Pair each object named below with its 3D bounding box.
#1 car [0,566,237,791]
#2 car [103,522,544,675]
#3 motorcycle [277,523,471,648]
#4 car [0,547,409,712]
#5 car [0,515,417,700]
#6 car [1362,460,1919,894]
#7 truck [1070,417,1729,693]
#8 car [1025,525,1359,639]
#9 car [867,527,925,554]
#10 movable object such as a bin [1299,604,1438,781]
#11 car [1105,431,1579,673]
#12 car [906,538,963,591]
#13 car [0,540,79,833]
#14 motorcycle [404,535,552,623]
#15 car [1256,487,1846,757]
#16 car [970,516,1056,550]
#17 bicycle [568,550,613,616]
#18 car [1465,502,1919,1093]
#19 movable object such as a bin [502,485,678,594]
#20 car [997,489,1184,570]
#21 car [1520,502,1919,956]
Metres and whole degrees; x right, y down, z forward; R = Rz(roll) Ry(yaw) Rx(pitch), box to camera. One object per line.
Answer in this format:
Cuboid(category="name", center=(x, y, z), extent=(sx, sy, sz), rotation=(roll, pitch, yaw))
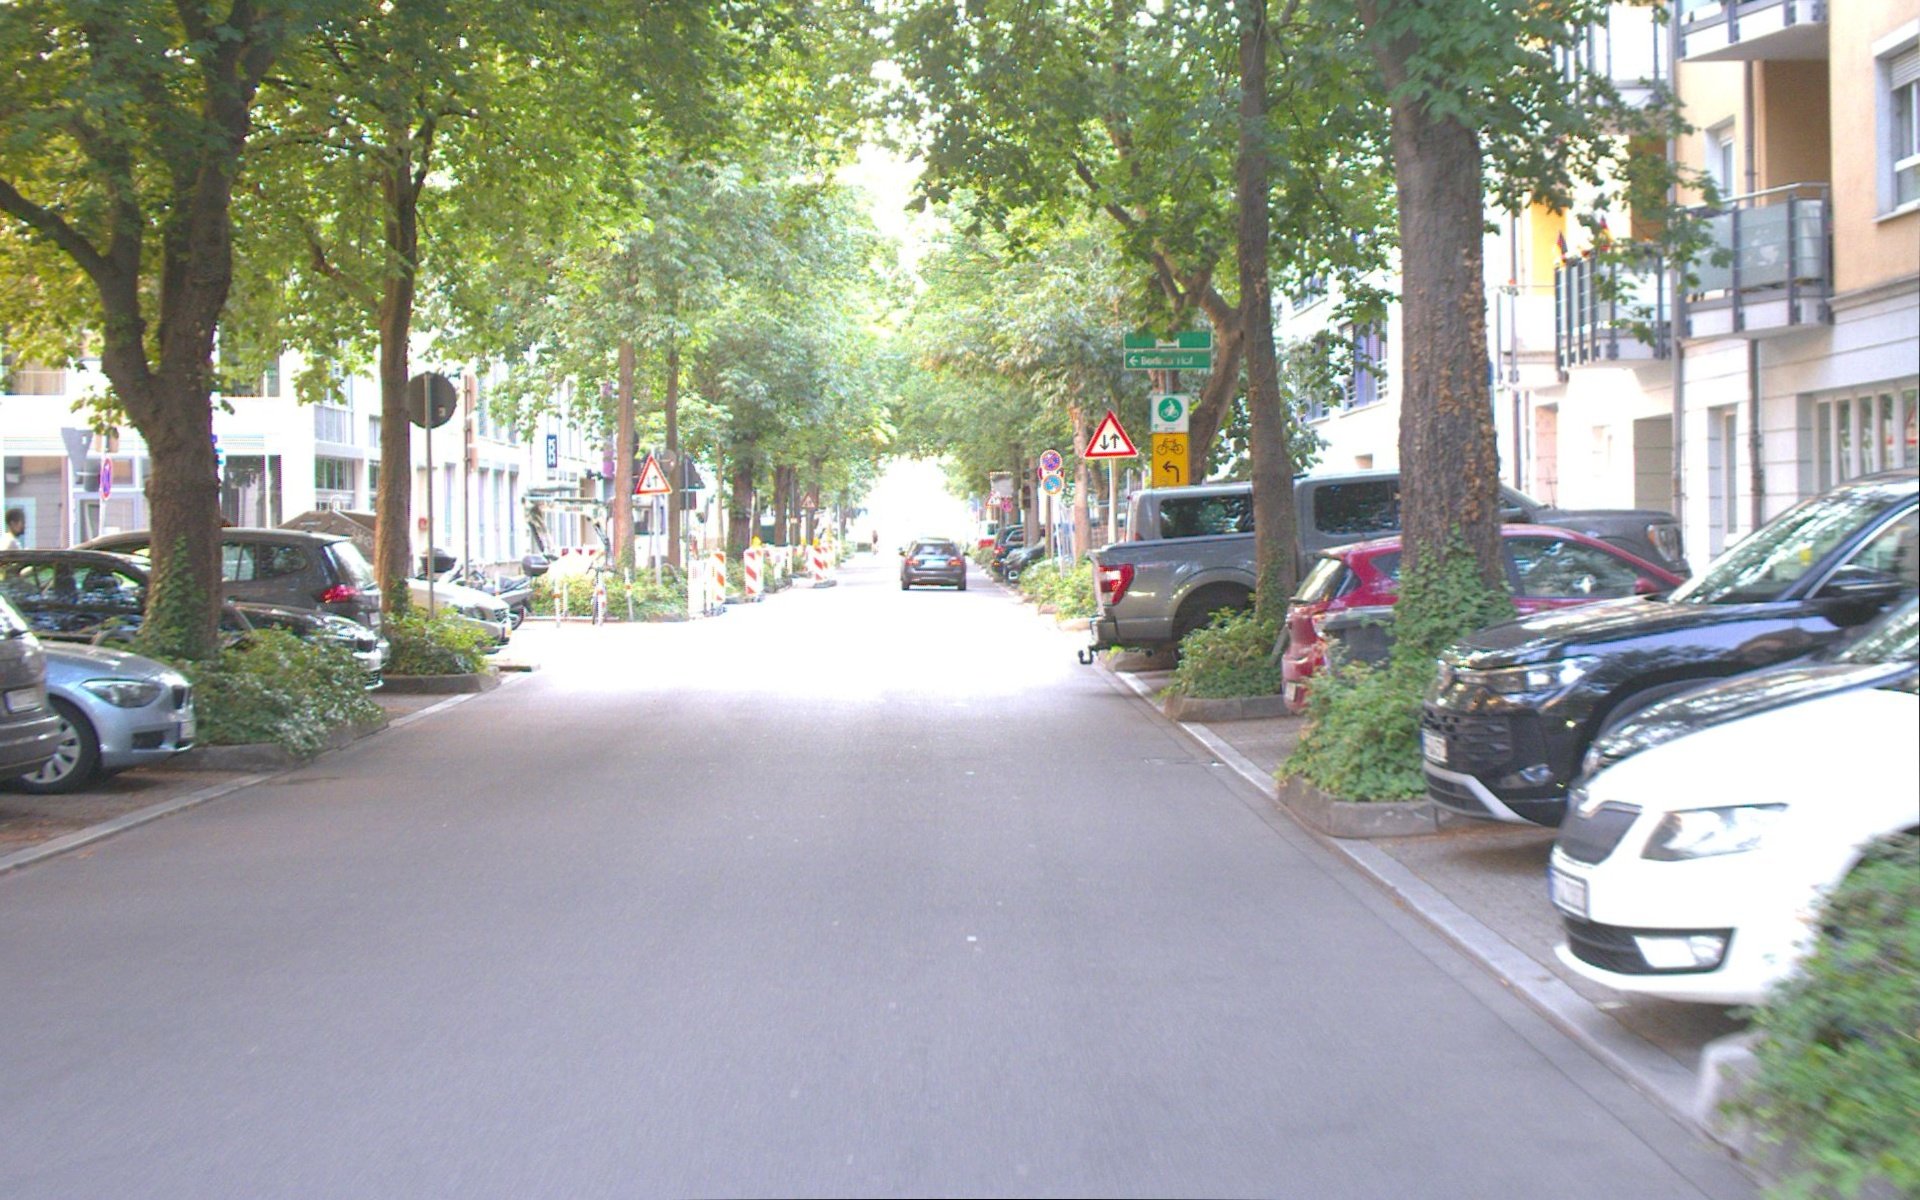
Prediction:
Cuboid(category="car", center=(-6.896, 0.471, 22.243), extent=(4.099, 1.375, 1.747), rotation=(0, 1, -2))
Cuboid(category="car", center=(-7.025, -0.031, 38.312), extent=(4.498, 1.576, 2.055), rotation=(1, 1, 0))
Cuboid(category="motorcycle", center=(-7.113, -0.181, 41.816), extent=(2.217, 1.488, 0.691), rotation=(-1, 1, 2))
Cuboid(category="car", center=(-7.484, 0.245, 31.086), extent=(4.715, 1.419, 2.072), rotation=(0, 1, -2))
Cuboid(category="car", center=(-7.604, 0.045, 33.341), extent=(4.395, 1.679, 2.064), rotation=(1, 1, -2))
Cuboid(category="car", center=(4.243, 0.227, 15.578), extent=(4.382, 1.698, 1.896), rotation=(-4, 1, -8))
Cuboid(category="truck", center=(4.189, -0.447, 33.608), extent=(6.004, 2.125, 2.261), rotation=(-5, 1, 0))
Cuboid(category="car", center=(3.226, -0.273, 48.117), extent=(4.278, 1.503, 1.873), rotation=(-1, 1, -13))
Cuboid(category="car", center=(-4.664, -4.324, 250.054), extent=(3.986, 1.908, 1.778), rotation=(-1, 1, -8))
Cuboid(category="movable object such as a bin", center=(2.533, 0.565, 21.356), extent=(0.774, 1.064, 0.589), rotation=(-1, 1, -1))
Cuboid(category="car", center=(3.958, -0.514, 36.233), extent=(4.620, 2.125, 2.037), rotation=(-4, 1, 0))
Cuboid(category="car", center=(-0.735, -0.996, 95.806), extent=(1.500, 1.411, 3.714), rotation=(-1, 1, -1))
Cuboid(category="car", center=(-6.974, 0.482, 19.716), extent=(3.404, 1.604, 1.761), rotation=(-1, 1, -2))
Cuboid(category="motorcycle", center=(-8.086, -0.366, 57.722), extent=(2.373, 1.436, 0.801), rotation=(-2, 2, -40))
Cuboid(category="car", center=(4.053, 0.150, 23.994), extent=(3.664, 1.543, 1.781), rotation=(-4, 0, -2))
Cuboid(category="car", center=(2.525, -3.224, 164.549), extent=(3.986, 1.592, 2.000), rotation=(-1, 1, -3))
Cuboid(category="bicycle", center=(-6.531, -0.315, 60.835), extent=(0.601, 1.114, 1.800), rotation=(-1, 2, 0))
Cuboid(category="car", center=(3.985, 0.422, 10.337), extent=(4.572, 1.546, 1.773), rotation=(-4, 1, -1))
Cuboid(category="movable object such as a bin", center=(-8.160, -1.339, 76.202), extent=(3.665, 2.325, 2.584), rotation=(-1, 1, -2))
Cuboid(category="car", center=(3.508, -1.895, 92.938), extent=(4.971, 2.080, 1.738), rotation=(-1, 1, 0))
Cuboid(category="car", center=(4.275, 0.358, 12.958), extent=(3.987, 1.520, 1.727), rotation=(-4, 1, 2))
